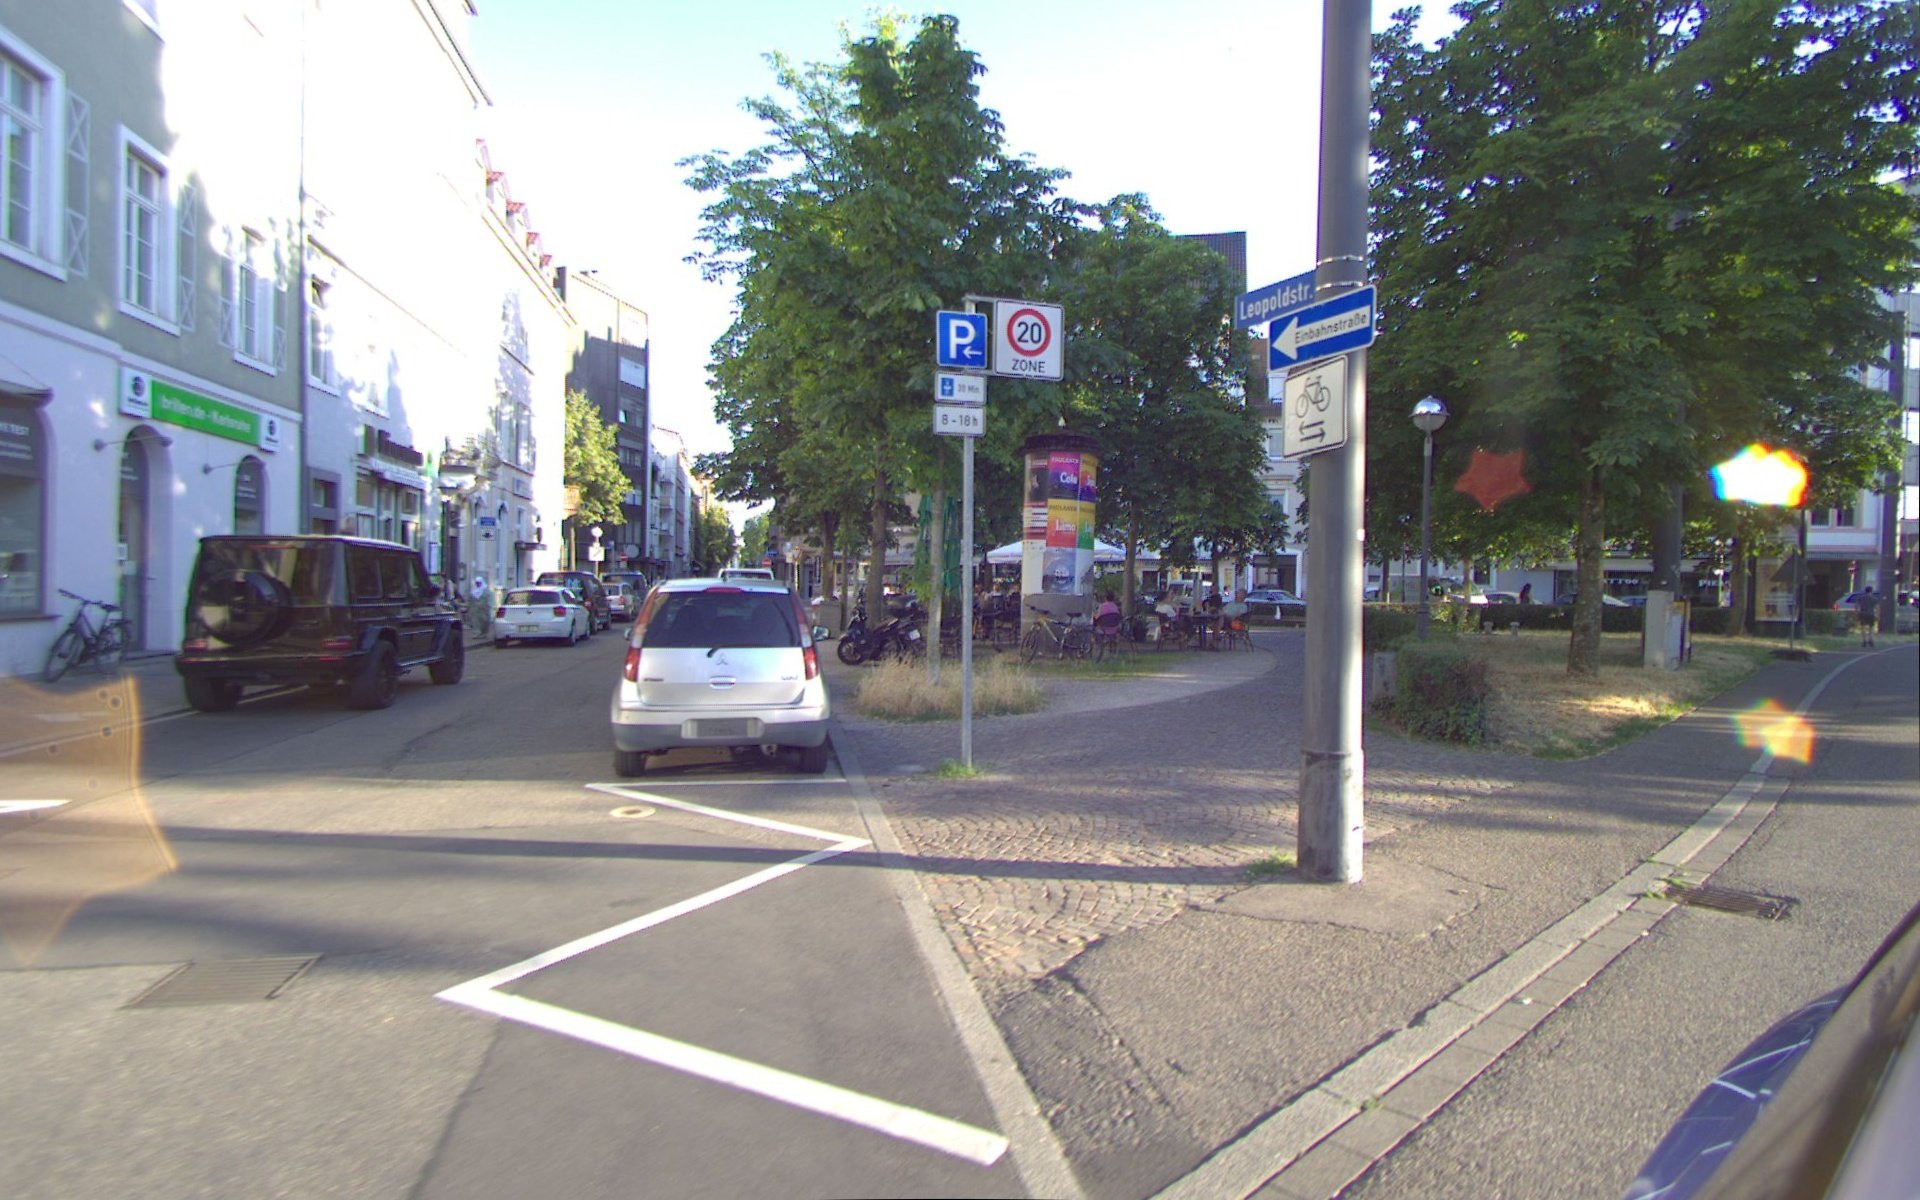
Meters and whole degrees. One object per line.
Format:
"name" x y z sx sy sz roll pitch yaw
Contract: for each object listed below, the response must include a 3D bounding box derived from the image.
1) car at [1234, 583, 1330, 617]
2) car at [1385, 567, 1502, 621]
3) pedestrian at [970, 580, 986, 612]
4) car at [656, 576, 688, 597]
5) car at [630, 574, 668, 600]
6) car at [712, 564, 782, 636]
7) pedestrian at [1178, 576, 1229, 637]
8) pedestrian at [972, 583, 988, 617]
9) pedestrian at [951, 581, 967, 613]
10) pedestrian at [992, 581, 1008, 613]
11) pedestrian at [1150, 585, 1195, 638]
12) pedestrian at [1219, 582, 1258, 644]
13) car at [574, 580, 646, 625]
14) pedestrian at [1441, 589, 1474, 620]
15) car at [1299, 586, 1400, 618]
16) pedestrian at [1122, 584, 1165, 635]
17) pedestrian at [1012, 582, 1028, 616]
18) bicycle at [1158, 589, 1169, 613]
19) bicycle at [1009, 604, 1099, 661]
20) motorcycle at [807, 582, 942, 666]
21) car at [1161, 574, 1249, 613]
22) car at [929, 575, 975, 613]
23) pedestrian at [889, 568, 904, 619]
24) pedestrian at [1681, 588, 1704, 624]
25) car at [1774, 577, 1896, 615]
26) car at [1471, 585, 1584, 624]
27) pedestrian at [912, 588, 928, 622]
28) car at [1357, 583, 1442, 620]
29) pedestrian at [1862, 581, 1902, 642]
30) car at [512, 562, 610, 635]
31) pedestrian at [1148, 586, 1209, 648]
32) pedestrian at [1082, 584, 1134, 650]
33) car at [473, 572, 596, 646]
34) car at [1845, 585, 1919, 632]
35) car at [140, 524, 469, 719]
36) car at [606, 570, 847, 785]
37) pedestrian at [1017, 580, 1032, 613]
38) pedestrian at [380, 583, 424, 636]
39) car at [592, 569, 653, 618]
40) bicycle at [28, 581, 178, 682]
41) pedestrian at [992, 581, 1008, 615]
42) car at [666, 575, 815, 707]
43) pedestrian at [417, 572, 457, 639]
"car" 14.756 -0.023 46.588 1.959 1.505 4.005 0 0 -28
"car" 21.516 -0.263 45.262 2.050 2.269 4.891 0 0 -15
"pedestrian" 0.637 -0.141 35.726 0.485 1.131 0.556 0 0 9
"car" -20.141 -0.946 70.894 1.846 1.439 3.559 1 1 -12
"car" -18.445 -0.781 60.075 1.846 1.439 3.559 1 1 -12
"car" -6.524 -0.027 31.322 1.958 2.039 4.444 0 1 -10
"pedestrian" 5.646 0.139 23.500 0.996 1.372 0.732 0 1 2
"pedestrian" 0.670 -0.010 33.987 0.451 1.131 0.556 0 0 9
"pedestrian" -0.034 -0.103 35.790 0.485 1.131 0.556 0 0 9
"pedestrian" 1.410 -0.103 35.528 0.485 1.131 0.556 0 0 9
"pedestrian" 5.148 0.281 24.573 0.934 1.259 0.662 -1 -4 2
"pedestrian" 5.735 0.262 20.862 0.601 1.260 0.569 1 1 -1
"car" -12.897 0.060 37.556 1.981 1.590 4.521 0 1 -12
"pedestrian" 20.338 0.165 41.380 0.947 1.241 1.364 1 0 15
"car" 17.783 0.083 46.373 1.959 1.416 4.005 0 0 -28
"pedestrian" 4.572 0.235 25.244 0.934 1.259 0.662 -1 -1 2
"pedestrian" 2.022 -0.026 34.050 0.485 1.131 0.556 0 0 9
"bicycle" 8.798 0.027 43.811 0.320 1.008 1.466 1 1 17
"bicycle" 1.646 0.560 17.659 1.506 0.941 0.553 1 1 12
"motorcycle" -1.505 0.408 17.657 2.224 1.385 0.942 -1 0 30
"car" 11.503 -0.293 47.756 1.959 1.727 4.006 0 0 -26
"car" -0.368 -0.293 50.275 1.879 1.796 3.993 0 0 6
"pedestrian" -2.138 -0.212 34.183 0.382 1.706 0.328 0 1 -45
"pedestrian" 37.643 0.303 52.013 0.783 1.823 0.636 0 0 13
"car" 43.637 -0.220 50.569 4.165 1.806 1.926 1 2 13
"car" 24.675 0.186 44.119 1.911 1.624 4.008 0 0 -21
"pedestrian" -1.361 0.164 34.147 0.451 1.131 0.529 0 0 9
"car" 23.934 0.045 55.241 3.941 1.908 1.945 1 3 14
"pedestrian" 27.058 0.340 29.703 0.630 1.765 0.590 1 0 -19
"car" -11.741 -0.068 30.091 1.981 1.988 4.521 0 1 -12
"pedestrian" 4.512 0.350 20.942 0.968 1.258 0.782 1 0 -14
"pedestrian" 2.982 0.359 20.496 0.649 1.301 0.953 1 -4 -19
"car" -10.398 0.173 25.055 1.981 1.637 4.521 0 1 -12
"car" 37.632 0.331 39.193 1.958 1.794 4.720 1 0 -19
"car" -7.847 0.178 12.721 1.981 1.988 4.521 1 1 -12
"car" -2.052 0.520 9.131 1.703 1.533 3.585 1 1 -12
"pedestrian" 2.260 -0.123 35.483 0.485 1.131 0.556 0 0 9
"pedestrian" -13.848 0.226 25.142 0.672 1.260 1.029 1 1 -11
"car" -14.315 -0.297 43.169 1.981 1.988 4.521 0 1 -12
"bicycle" -11.562 0.380 13.745 0.672 1.260 1.992 1 1 -11
"pedestrian" 1.344 -0.063 34.180 0.485 1.131 0.556 0 0 9
"car" -3.058 0.433 14.242 1.703 1.533 4.683 1 1 -12
"pedestrian" -12.632 0.127 24.472 0.672 1.588 0.737 1 1 -11
